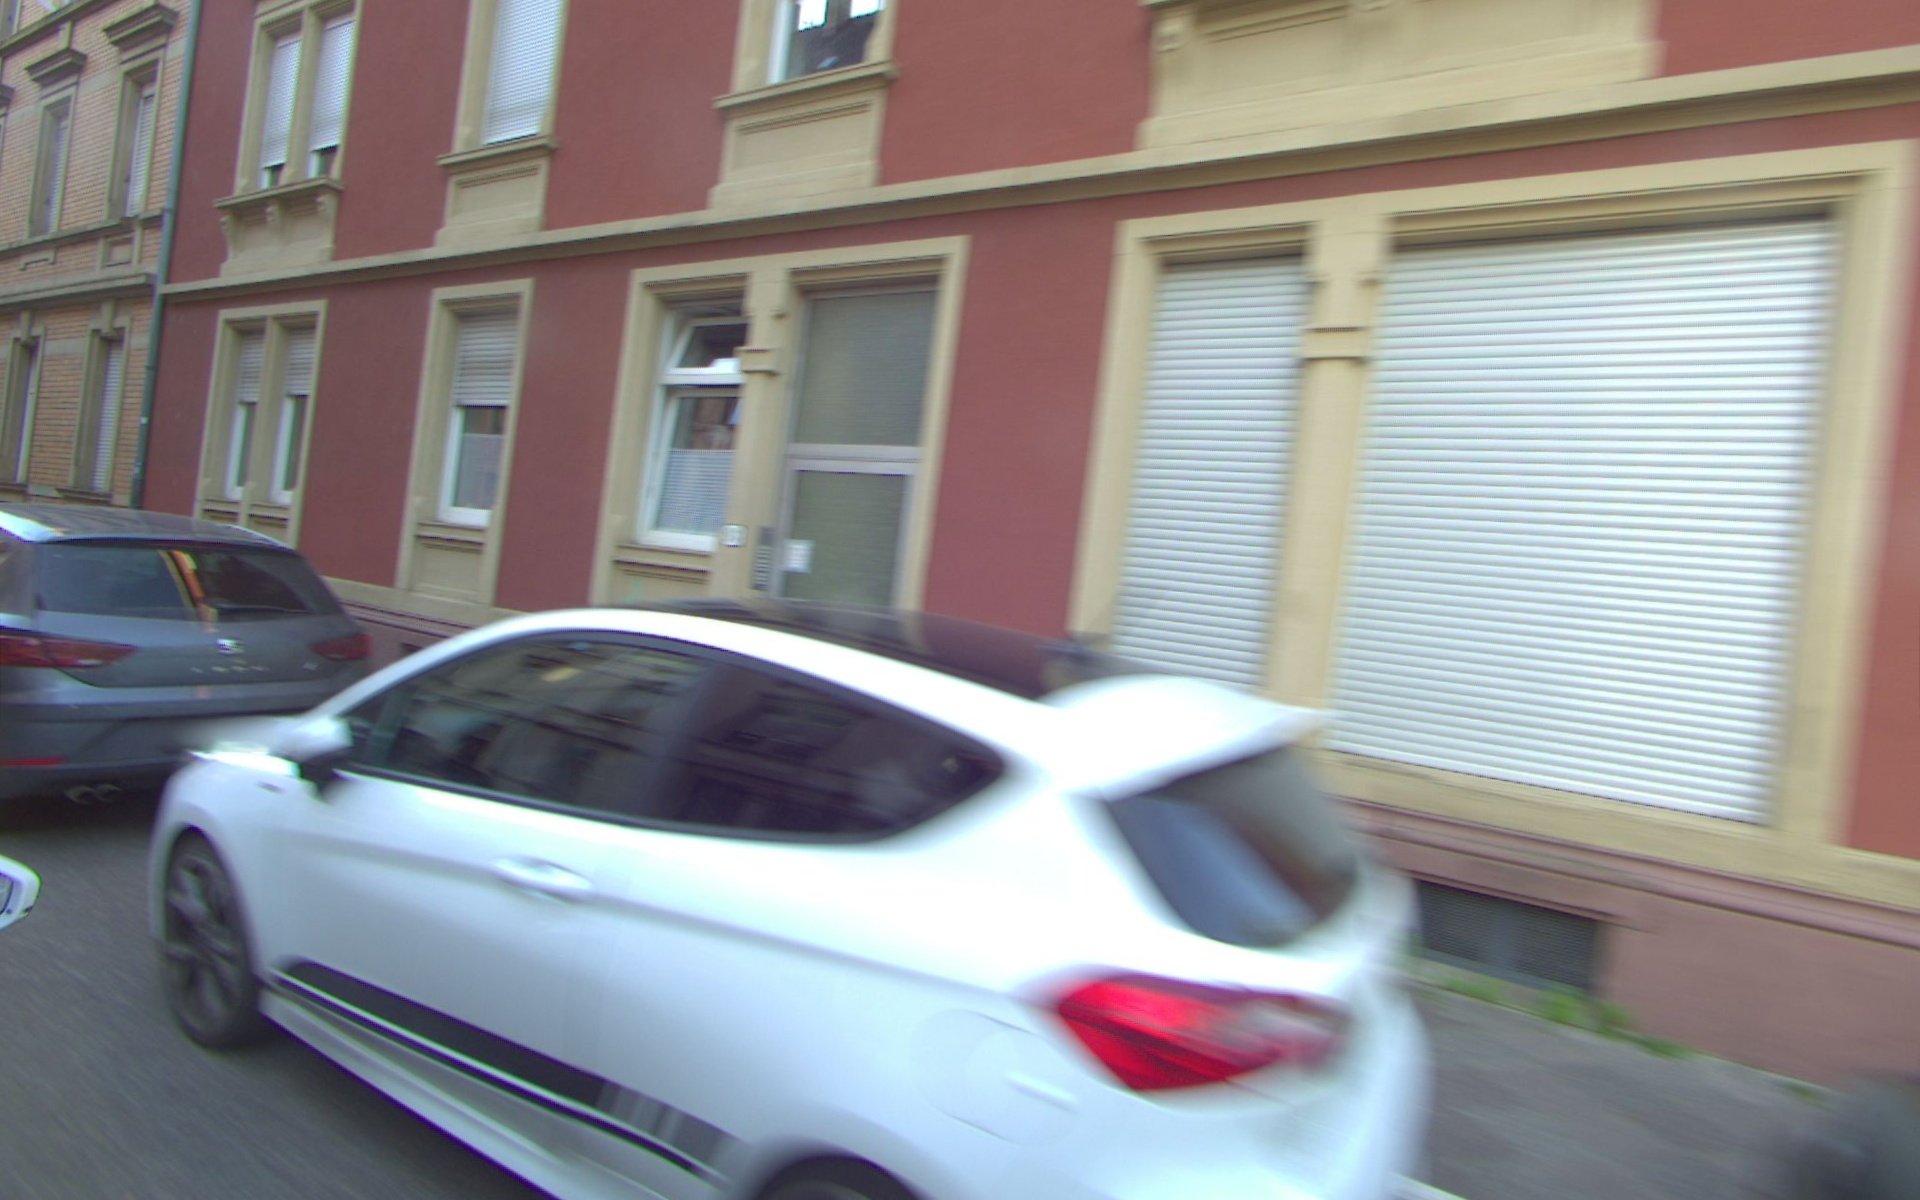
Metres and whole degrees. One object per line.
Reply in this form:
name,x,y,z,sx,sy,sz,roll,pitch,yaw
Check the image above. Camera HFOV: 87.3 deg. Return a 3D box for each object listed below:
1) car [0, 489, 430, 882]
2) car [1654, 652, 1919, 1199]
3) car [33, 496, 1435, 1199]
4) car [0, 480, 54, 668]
car,-4.980,0.202,5.612,4.001,1.521,1.679,7,-1,32
car,2.938,1.049,0.844,3.644,1.501,1.671,7,-1,30
car,-0.879,0.666,3.029,3.904,1.480,1.708,7,-1,31
car,-9.657,-0.463,8.531,3.955,1.497,1.662,7,0,29
